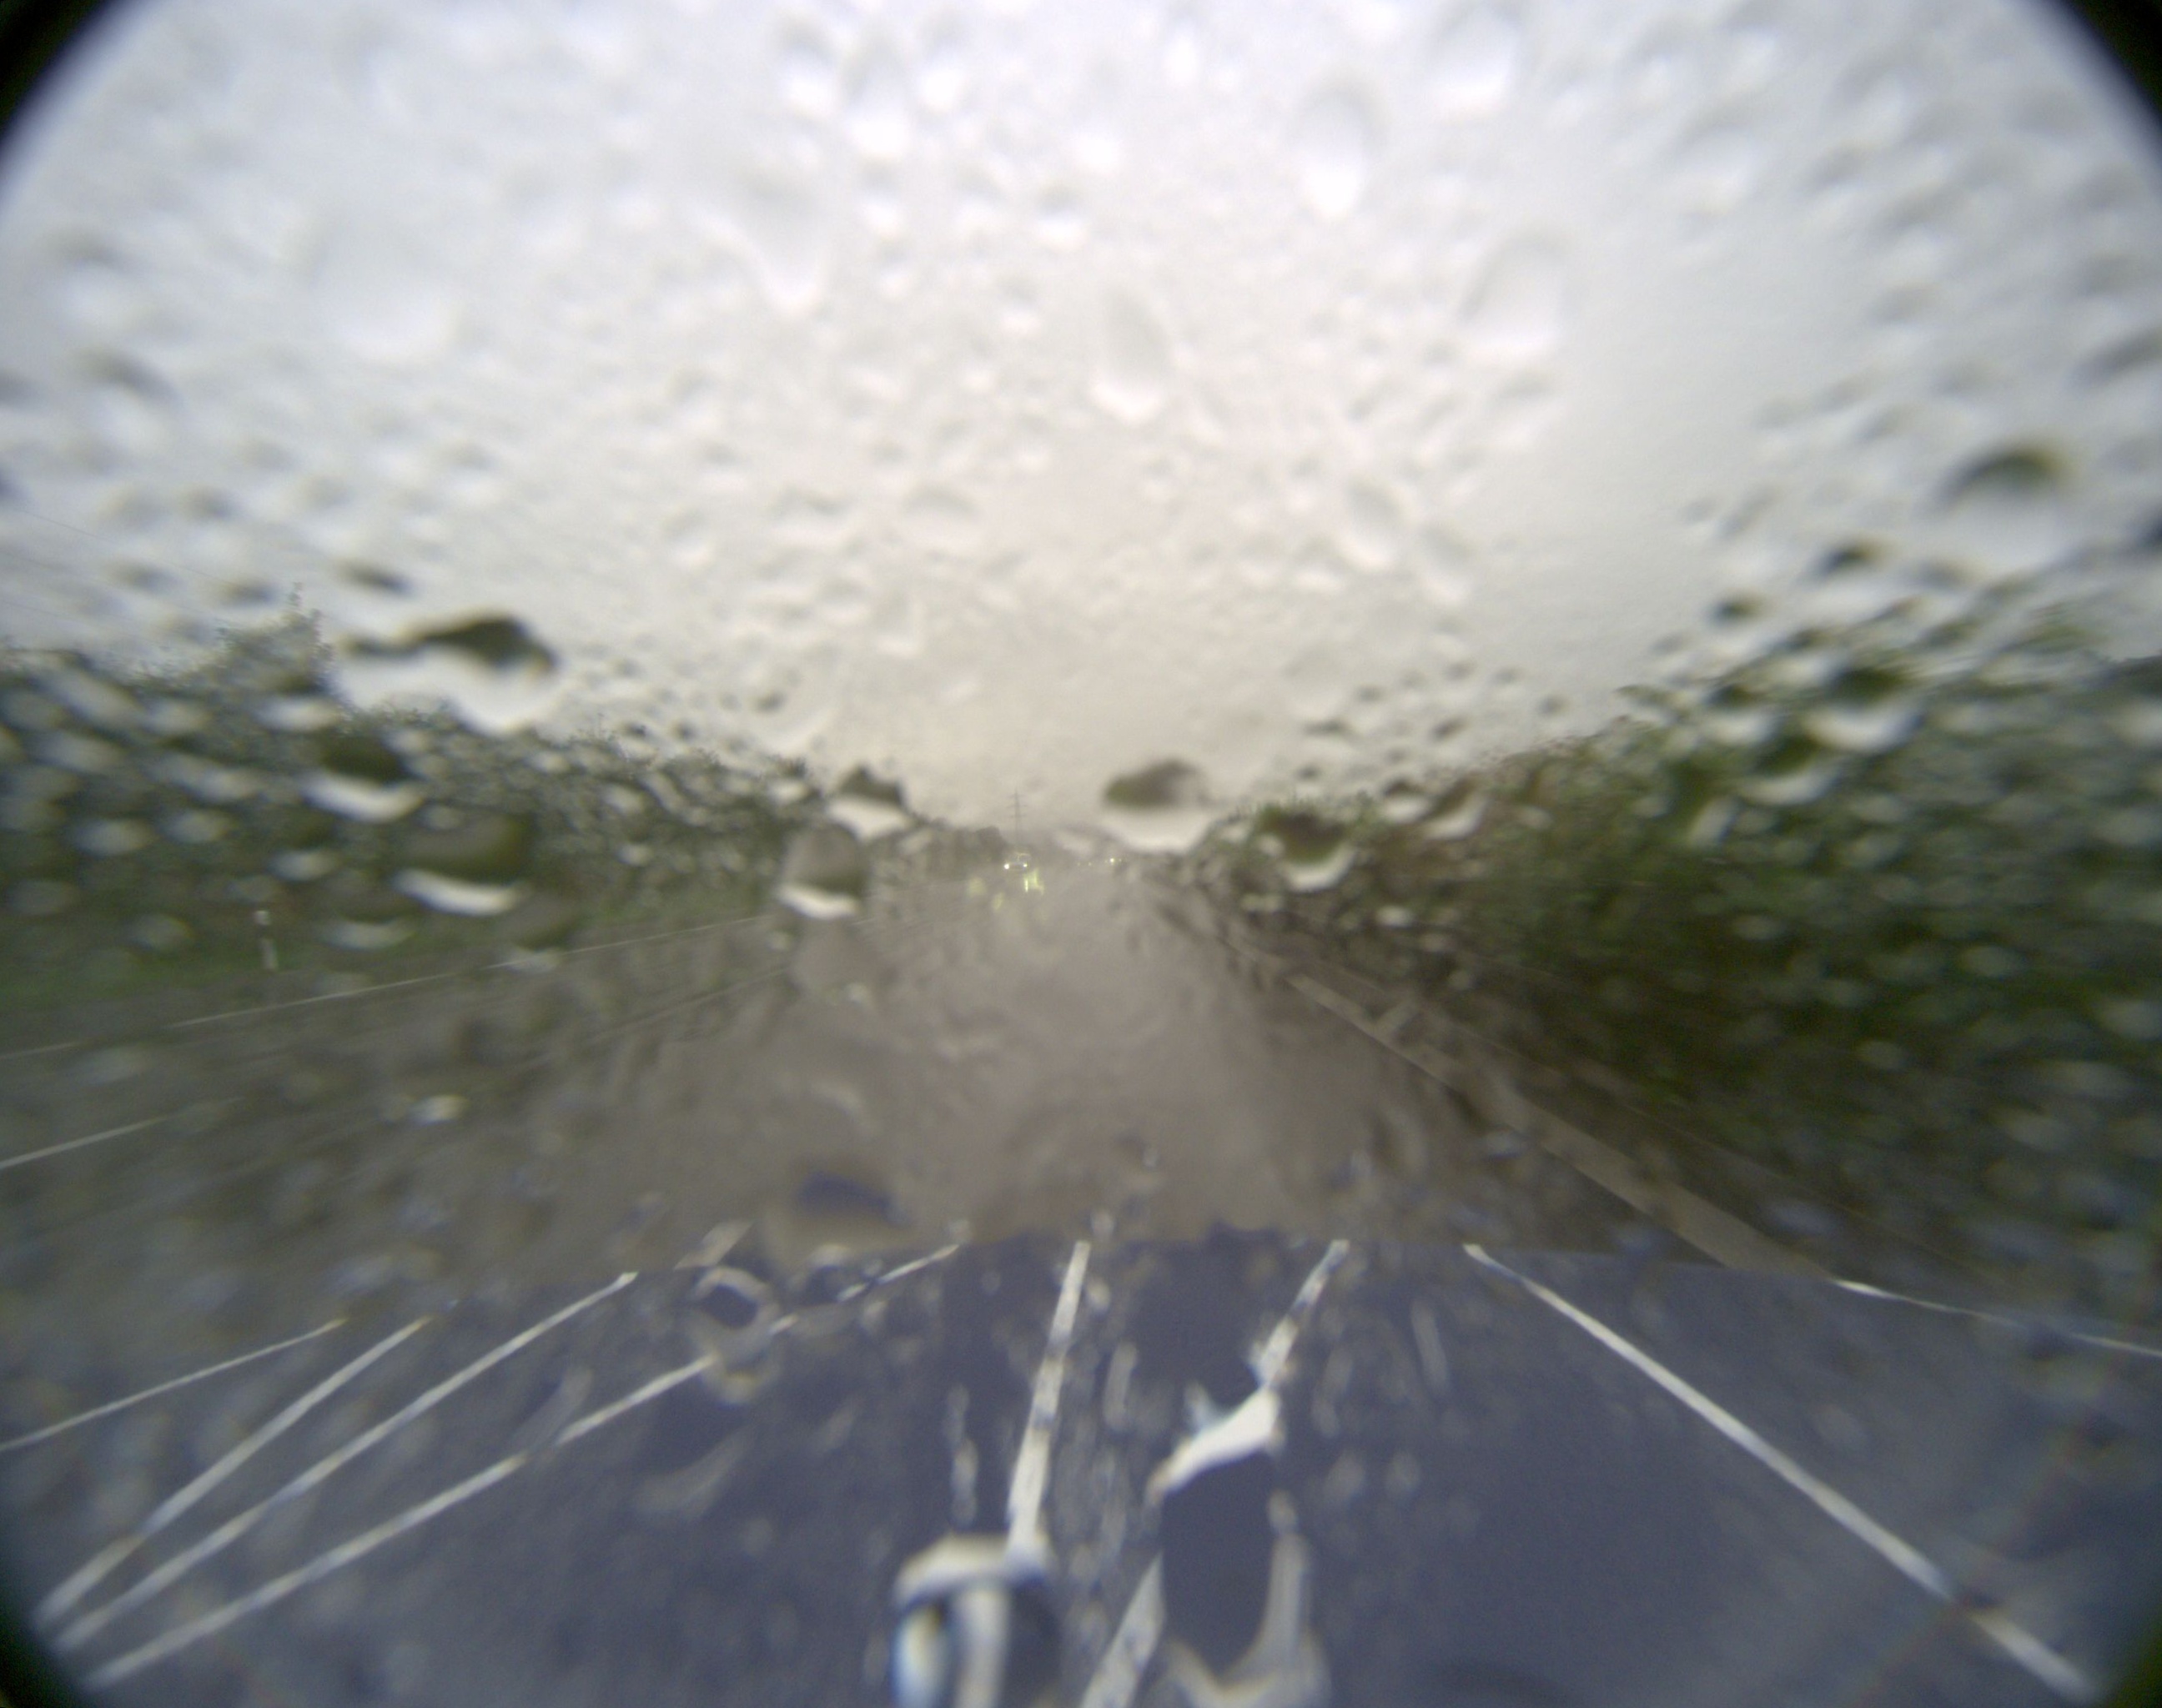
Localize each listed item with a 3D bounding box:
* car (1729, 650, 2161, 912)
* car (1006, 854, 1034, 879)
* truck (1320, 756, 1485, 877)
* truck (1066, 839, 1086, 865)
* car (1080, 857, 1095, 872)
[{"bbox_3d":[13.475,-0.874,10.831,2.568,2.942,6.936,-2,0,1],"label":"car"},{"bbox_3d":[-5.252,1.046,65.754,1.999,2.002,4.000,-3,0,-1],"label":"car"},{"bbox_3d":[19.110,-1.938,47.228,4.122,6.089,16.005,-2,0,3],"label":"truck"},{"bbox_3d":[-0.875,-0.394,143.332,3.135,4.641,11.405,-2,0,3],"label":"truck"},{"bbox_3d":[0.994,1.539,108.216,1.998,2.002,4.000,-2,0,1],"label":"car"}]
